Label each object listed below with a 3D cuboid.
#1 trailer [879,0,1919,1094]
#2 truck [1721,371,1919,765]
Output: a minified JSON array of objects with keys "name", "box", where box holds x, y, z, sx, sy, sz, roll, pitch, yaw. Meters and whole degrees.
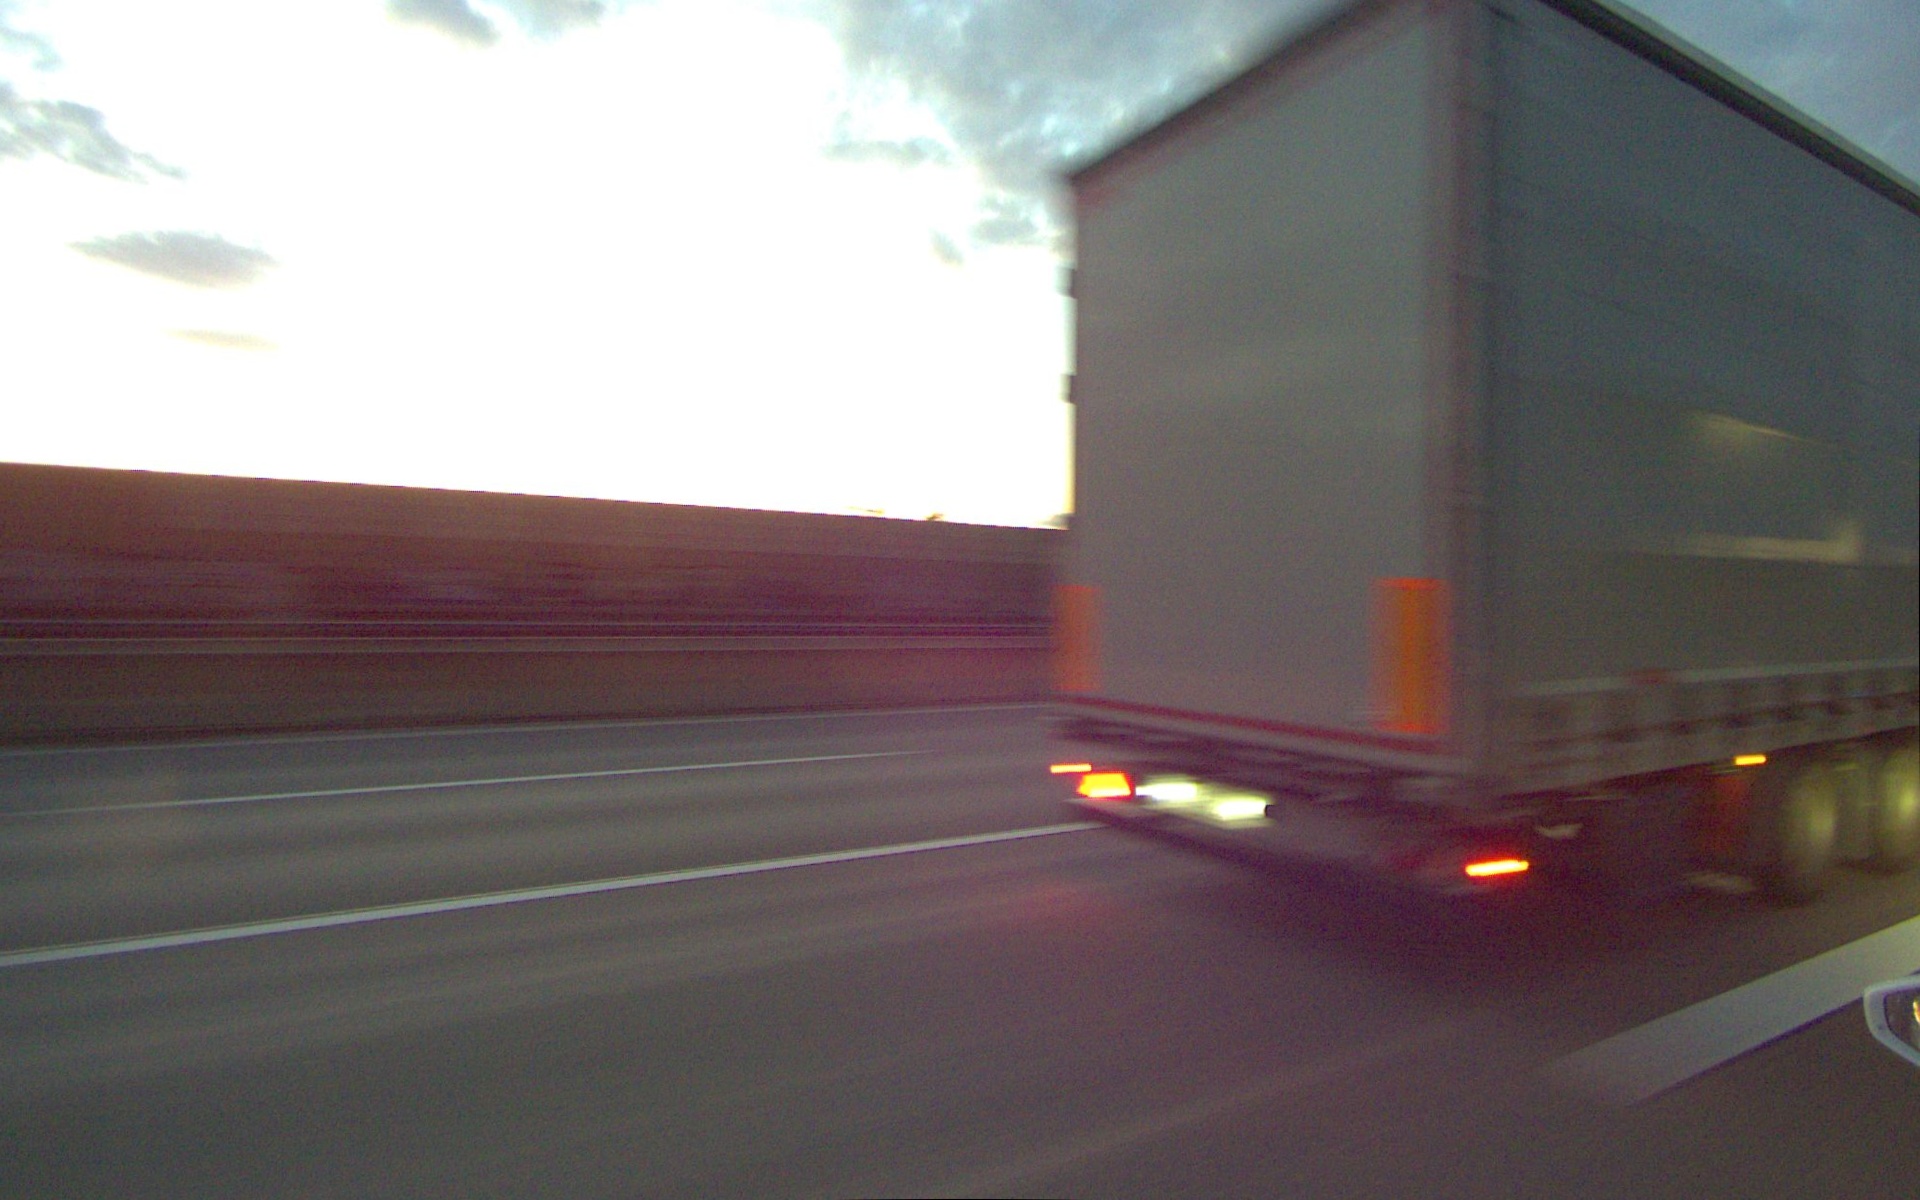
[{"name":"trailer","box":[6.765,-0.433,8.511,14.893,4.171,3.532,1,-1,-32]},{"name":"truck","box":[12.652,-0.275,12.204,6.084,4.145,3.531,1,-1,-32]}]
